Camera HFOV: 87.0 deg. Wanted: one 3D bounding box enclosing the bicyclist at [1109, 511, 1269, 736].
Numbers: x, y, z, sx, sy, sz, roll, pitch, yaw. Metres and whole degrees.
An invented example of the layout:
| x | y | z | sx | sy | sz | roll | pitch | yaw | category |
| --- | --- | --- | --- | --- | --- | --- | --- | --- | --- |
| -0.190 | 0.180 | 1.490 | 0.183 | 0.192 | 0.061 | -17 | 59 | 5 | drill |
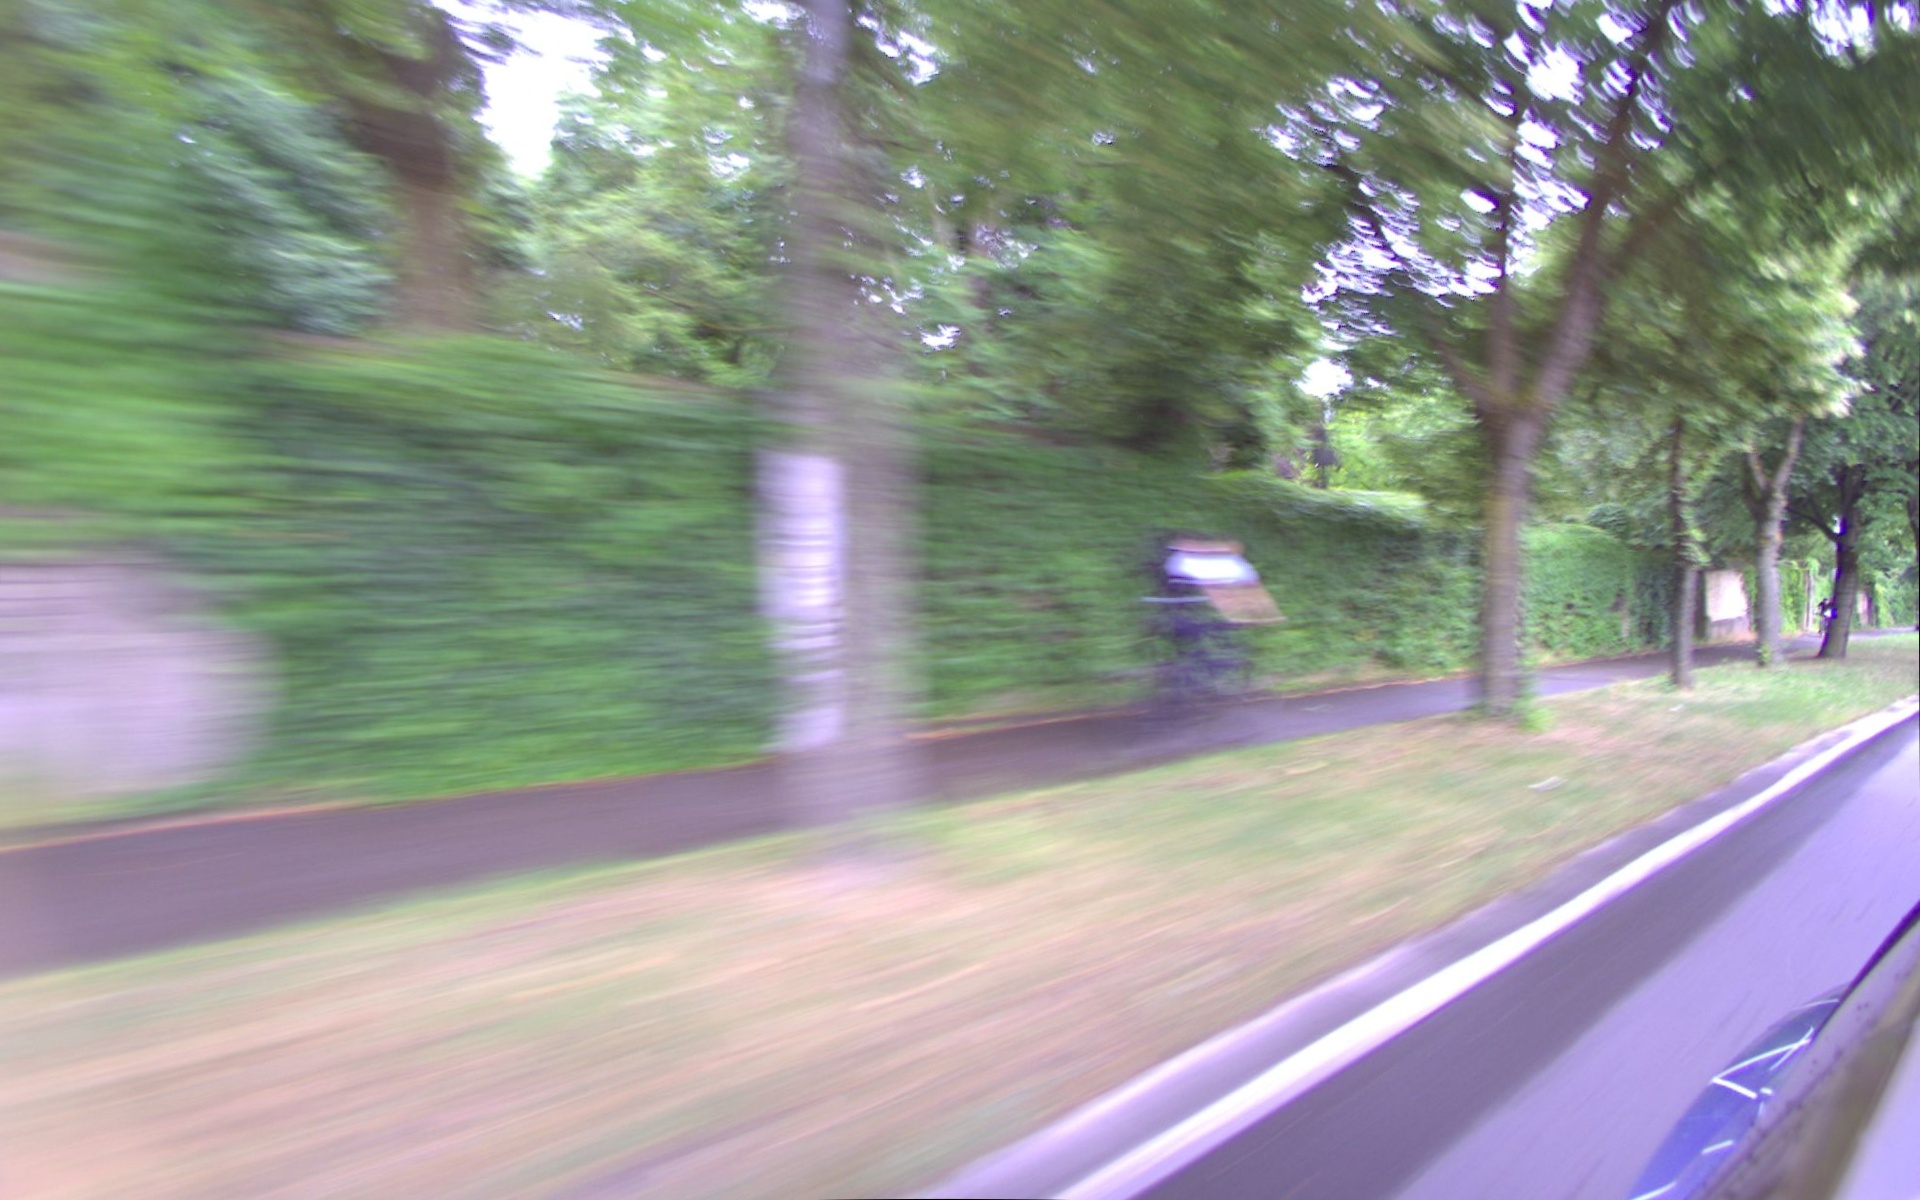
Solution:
| x | y | z | sx | sy | sz | roll | pitch | yaw | category |
| --- | --- | --- | --- | --- | --- | --- | --- | --- | --- |
| 1.808 | 0.161 | 7.992 | 0.981 | 1.636 | 0.764 | 1 | 1 | -42 | bicyclist |

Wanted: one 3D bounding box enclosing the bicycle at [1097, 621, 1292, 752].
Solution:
| x | y | z | sx | sy | sz | roll | pitch | yaw | category |
| --- | --- | --- | --- | --- | --- | --- | --- | --- | --- |
| 1.942 | 0.647 | 8.166 | 2.063 | 0.913 | 0.408 | 1 | 1 | -42 | bicycle |

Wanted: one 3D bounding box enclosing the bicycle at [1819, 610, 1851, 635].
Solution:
| x | y | z | sx | sy | sz | roll | pitch | yaw | category |
| --- | --- | --- | --- | --- | --- | --- | --- | --- | --- |
| 34.651 | 0.881 | 40.076 | 2.504 | 0.960 | 0.544 | 1 | 1 | -40 | bicycle |

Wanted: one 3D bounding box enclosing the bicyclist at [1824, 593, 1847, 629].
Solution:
| x | y | z | sx | sy | sz | roll | pitch | yaw | category |
| --- | --- | --- | --- | --- | --- | --- | --- | --- | --- |
| 34.672 | 0.439 | 40.082 | 0.654 | 1.407 | 0.536 | 1 | 1 | -40 | bicyclist |
